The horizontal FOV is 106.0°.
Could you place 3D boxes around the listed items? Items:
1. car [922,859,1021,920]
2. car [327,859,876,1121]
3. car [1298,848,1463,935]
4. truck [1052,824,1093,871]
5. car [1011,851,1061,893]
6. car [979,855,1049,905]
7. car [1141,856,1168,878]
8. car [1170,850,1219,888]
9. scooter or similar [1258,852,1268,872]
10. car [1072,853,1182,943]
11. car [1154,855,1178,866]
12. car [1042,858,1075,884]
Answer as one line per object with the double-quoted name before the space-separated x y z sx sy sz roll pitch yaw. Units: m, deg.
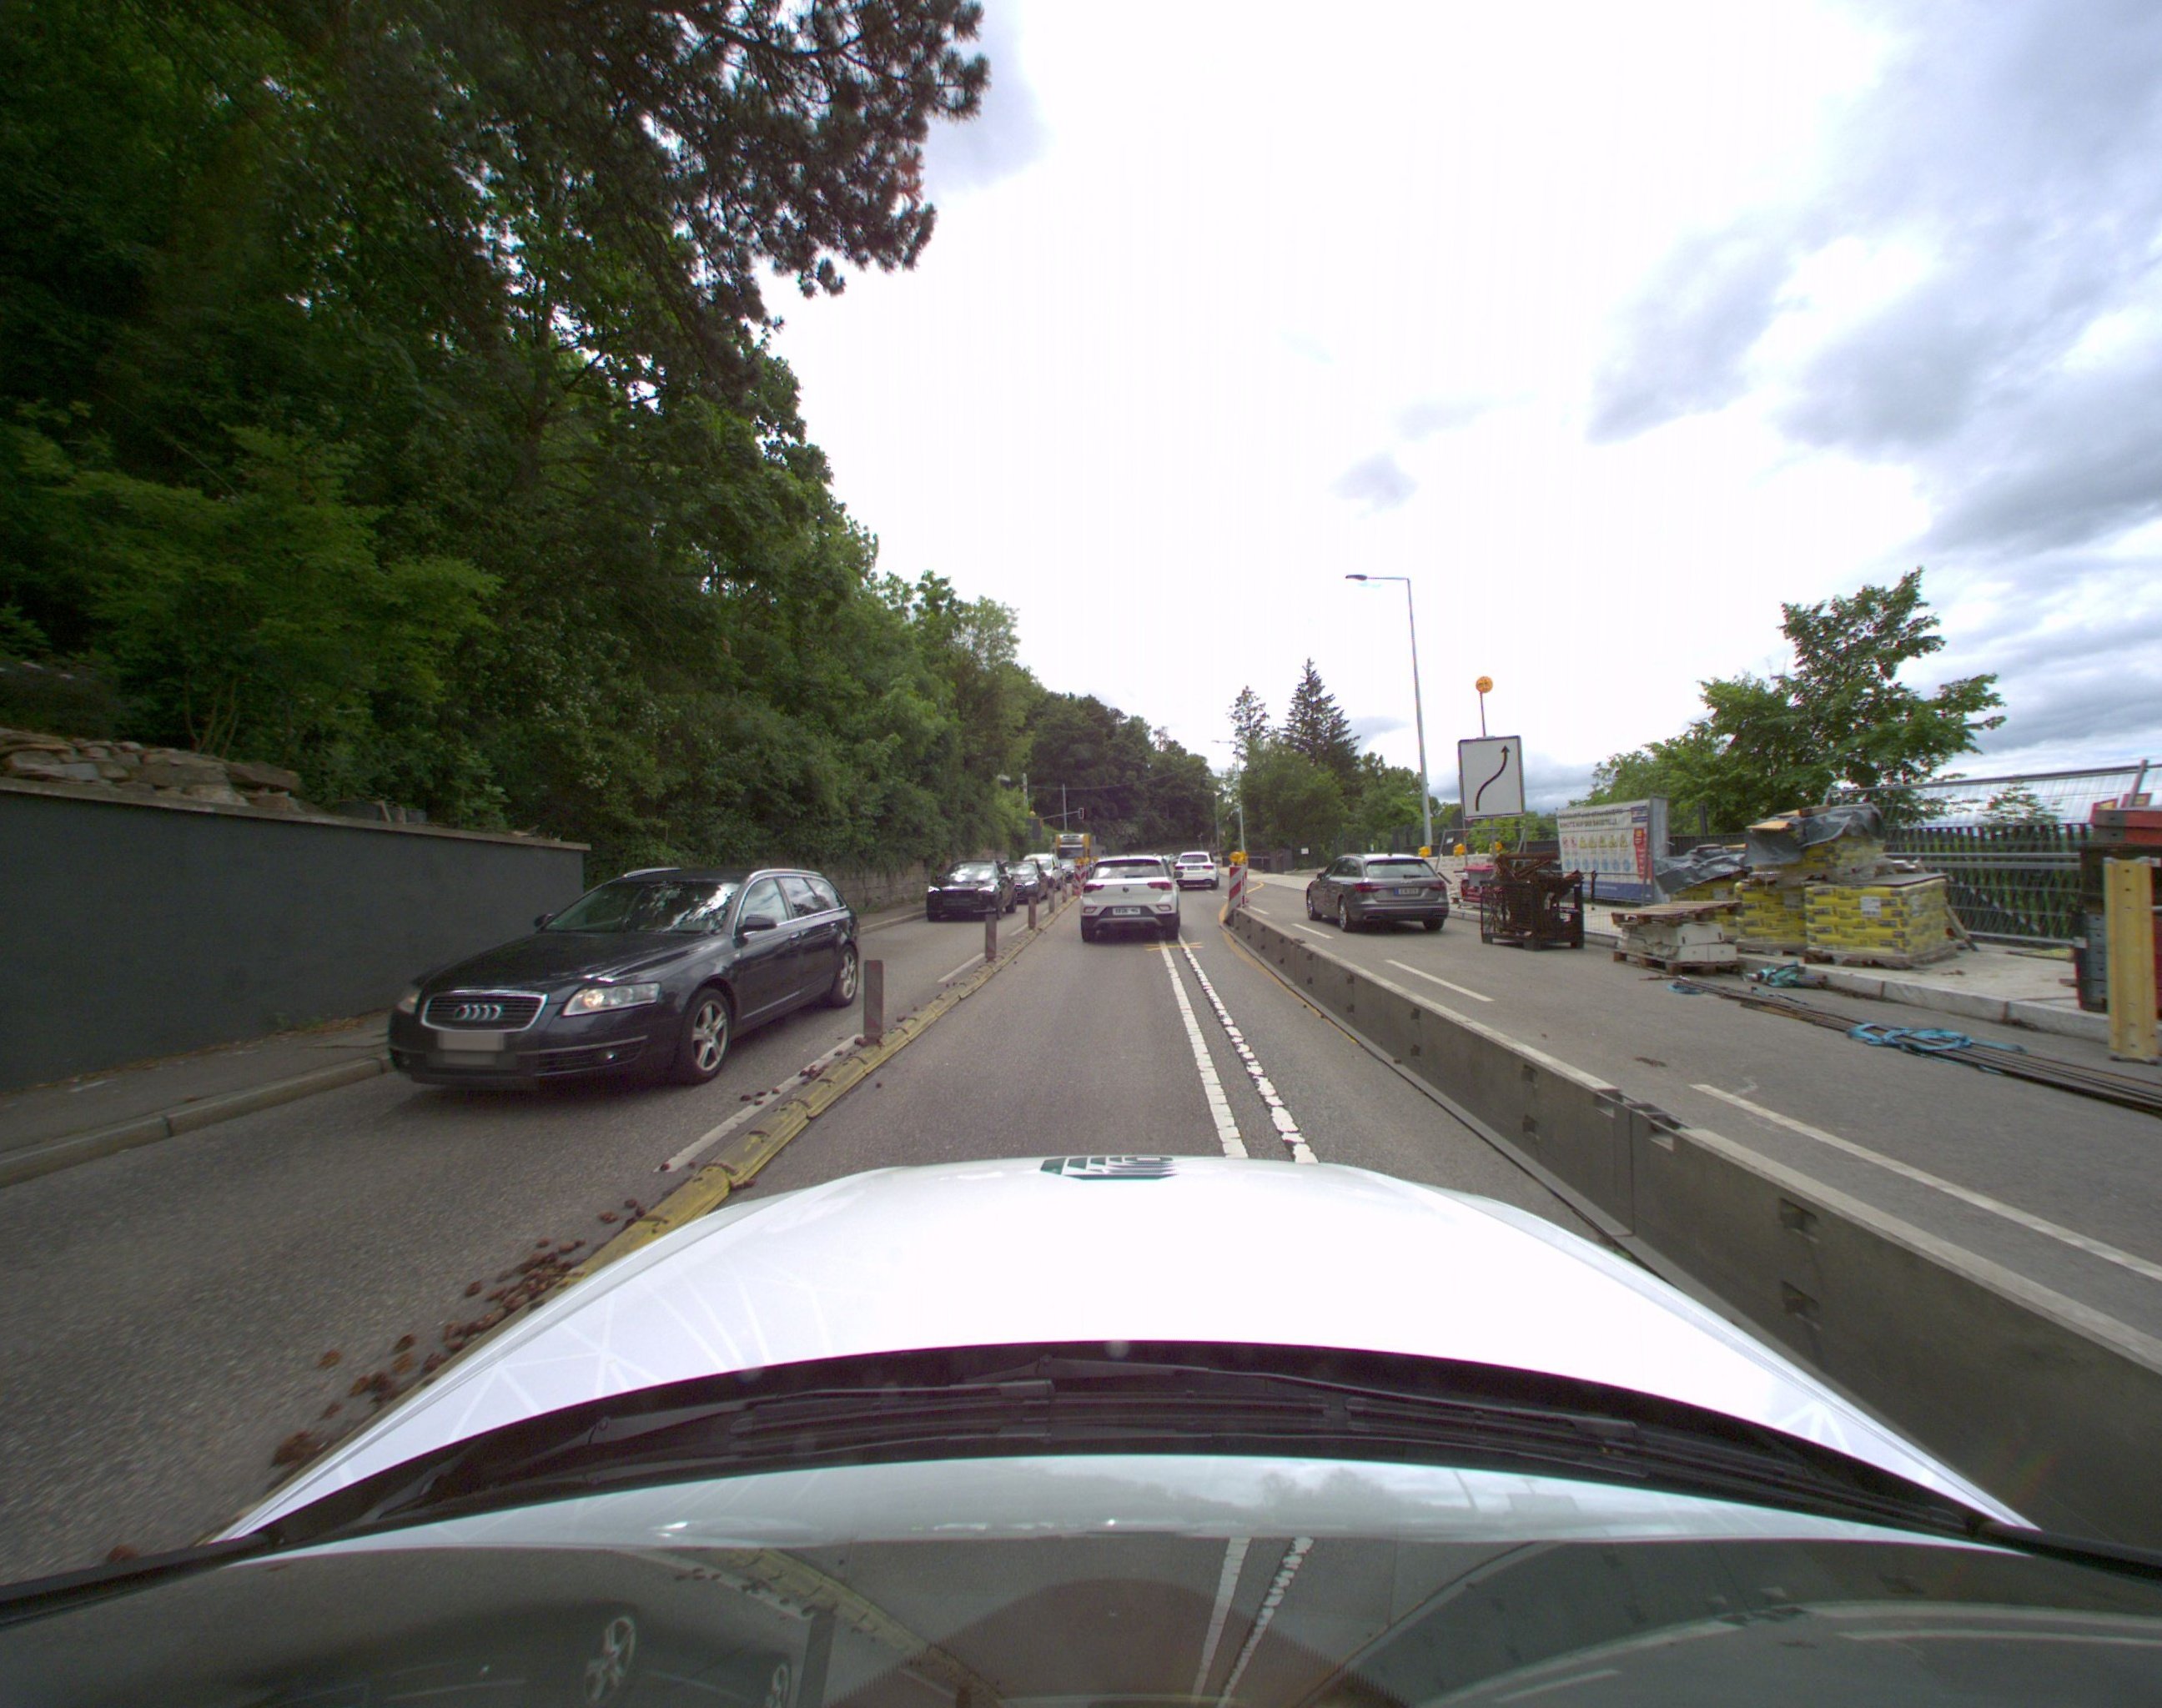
"car" -2.818 0.877 21.846 1.821 1.485 4.322 0 -1 3
"car" -3.321 0.797 6.905 1.783 1.464 4.513 -1 0 3
"car" 5.775 0.646 16.358 1.832 1.455 4.632 -1 0 3
"truck" -0.595 -0.473 66.162 2.719 3.510 7.356 -2 -1 3
"car" -2.023 0.805 37.875 1.795 1.790 4.346 -1 -1 4
"car" -2.270 0.860 28.823 1.823 1.592 4.658 -1 -1 3
"car" 5.602 0.979 62.652 1.899 1.574 4.002 -1 -1 3
"car" 5.056 0.650 35.857 1.981 1.586 4.011 -1 -1 10
"scooter or similar" 11.952 0.505 53.479 0.531 1.226 1.209 -4 0 9
"car" 1.016 0.765 15.938 1.857 1.536 3.811 -1 0 7
"car" 12.023 0.876 115.102 1.888 1.574 4.025 -1 -1 32
"car" -1.356 1.028 50.952 1.784 1.507 4.314 -1 -1 2
